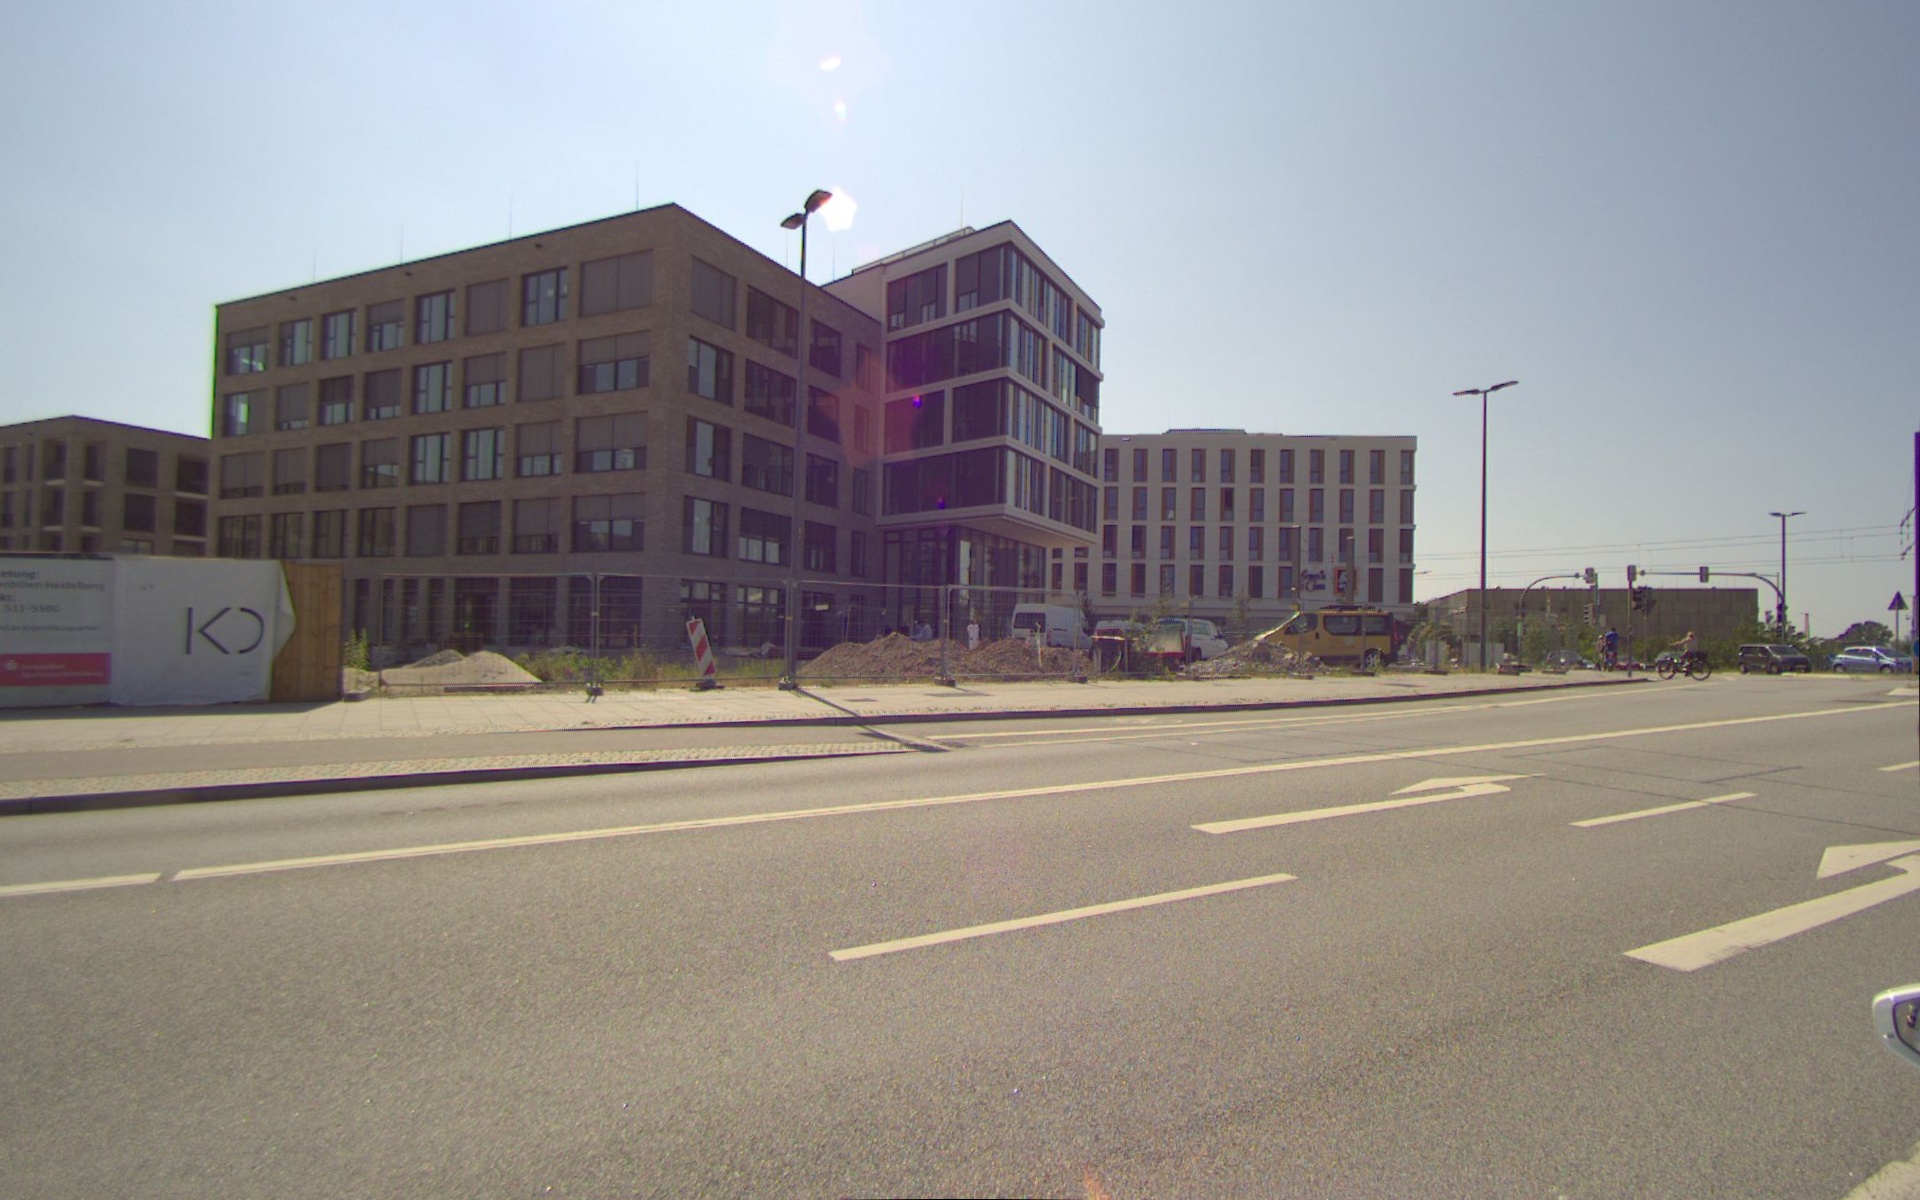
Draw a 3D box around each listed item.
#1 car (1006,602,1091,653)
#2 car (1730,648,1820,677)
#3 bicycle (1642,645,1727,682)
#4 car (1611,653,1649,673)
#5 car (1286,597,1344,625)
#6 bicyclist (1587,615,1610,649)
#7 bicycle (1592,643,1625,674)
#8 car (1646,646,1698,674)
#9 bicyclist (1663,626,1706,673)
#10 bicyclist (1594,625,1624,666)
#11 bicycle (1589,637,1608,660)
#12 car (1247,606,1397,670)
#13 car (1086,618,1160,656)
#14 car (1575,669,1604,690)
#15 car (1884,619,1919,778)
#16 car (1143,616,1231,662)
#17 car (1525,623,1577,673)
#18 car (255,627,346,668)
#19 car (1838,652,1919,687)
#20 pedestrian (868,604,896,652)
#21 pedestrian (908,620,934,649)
[{"bbox_3d":[4.003,1.212,44.698,2.175,2.083,4.164,2,0,30],"label":"car"},{"bbox_3d":[49.087,3.740,60.640,1.960,1.475,4.487,2,0,3],"label":"car"},{"bbox_3d":[25.551,2.226,35.470,0.669,1.142,2.347,2,0,-29],"label":"bicycle"},{"bbox_3d":[55.474,5.202,83.255,1.651,1.475,4.000,2,0,19],"label":"car"},{"bbox_3d":[28.959,0.884,81.973,1.986,2.040,3.949,2,0,-43],"label":"car"},{"bbox_3d":[29.857,1.503,46.969,0.829,1.522,0.658,2,0,30],"label":"bicyclist"},{"bbox_3d":[25.668,2.312,39.770,0.715,1.148,2.530,-5,-4,26],"label":"bicycle"},{"bbox_3d":[51.694,4.358,73.017,1.683,1.764,4.214,2,0,14],"label":"car"},{"bbox_3d":[25.574,1.731,35.465,0.812,1.589,0.941,2,0,-28],"label":"bicyclist"},{"bbox_3d":[25.634,1.790,39.694,0.847,1.580,0.824,2,0,26],"label":"bicyclist"},{"bbox_3d":[29.864,2.266,46.982,0.594,1.020,2.508,1,-1,29],"label":"bicycle"},{"bbox_3d":[12.082,1.241,33.799,4.395,1.915,2.001,2,0,8],"label":"car"},{"bbox_3d":[7.161,1.591,43.730,1.773,1.528,3.991,2,0,31],"label":"car"},{"bbox_3d":[70.612,8.911,112.779,1.961,2.040,3.999,2,0,21],"label":"car"},{"bbox_3d":[10.733,0.983,9.593,3.953,1.431,1.697,2,0,-30],"label":"car"},{"bbox_3d":[9.588,1.607,42.149,1.969,1.730,4.546,2,0,35],"label":"car"},{"bbox_3d":[26.254,2.073,44.716,1.644,2.040,3.996,2,0,26],"label":"car"},{"bbox_3d":[-30.338,2.161,46.231,3.708,1.675,1.834,2,0,26],"label":"car"},{"bbox_3d":[44.951,3.375,48.821,1.557,1.458,3.150,2,0,-7],"label":"car"},{"bbox_3d":[-3.388,1.194,43.446,0.949,2.040,0.940,2,0,-17],"label":"pedestrian"},{"bbox_3d":[-1.917,1.700,49.474,1.099,1.391,0.742,2,0,-17],"label":"pedestrian"}]
